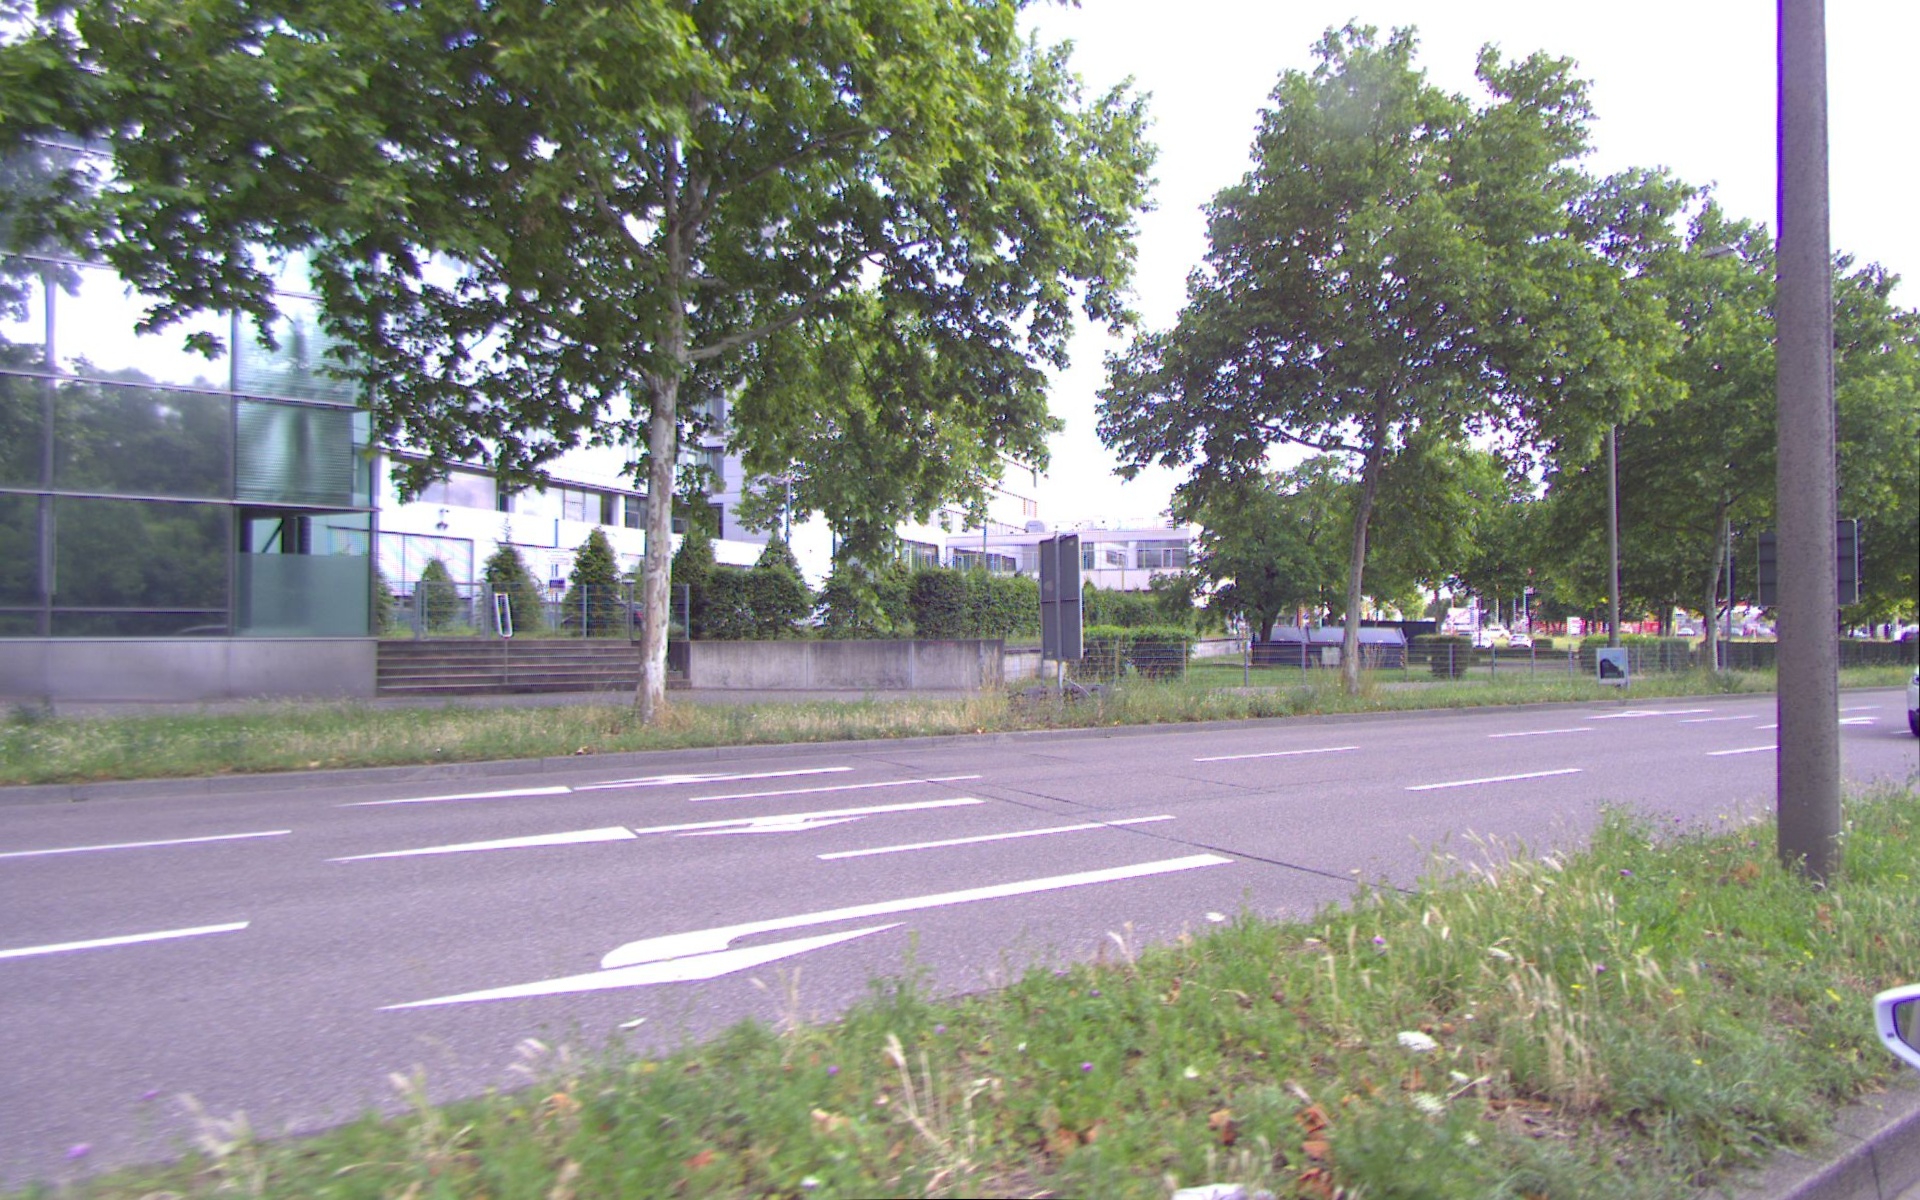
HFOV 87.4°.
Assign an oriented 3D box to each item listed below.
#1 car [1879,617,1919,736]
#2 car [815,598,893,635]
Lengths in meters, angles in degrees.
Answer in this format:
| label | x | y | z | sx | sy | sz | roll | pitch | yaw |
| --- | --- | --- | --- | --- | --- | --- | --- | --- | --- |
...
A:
| label | x | y | z | sx | sy | sz | roll | pitch | yaw |
| --- | --- | --- | --- | --- | --- | --- | --- | --- | --- |
| car | 15.501 | 1.082 | 14.798 | 4.304 | 1.661 | 1.804 | 1 | -4 | -33 |
| car | -6.144 | 0.961 | 58.282 | 3.925 | 1.817 | 1.999 | 3 | -3 | 26 |
